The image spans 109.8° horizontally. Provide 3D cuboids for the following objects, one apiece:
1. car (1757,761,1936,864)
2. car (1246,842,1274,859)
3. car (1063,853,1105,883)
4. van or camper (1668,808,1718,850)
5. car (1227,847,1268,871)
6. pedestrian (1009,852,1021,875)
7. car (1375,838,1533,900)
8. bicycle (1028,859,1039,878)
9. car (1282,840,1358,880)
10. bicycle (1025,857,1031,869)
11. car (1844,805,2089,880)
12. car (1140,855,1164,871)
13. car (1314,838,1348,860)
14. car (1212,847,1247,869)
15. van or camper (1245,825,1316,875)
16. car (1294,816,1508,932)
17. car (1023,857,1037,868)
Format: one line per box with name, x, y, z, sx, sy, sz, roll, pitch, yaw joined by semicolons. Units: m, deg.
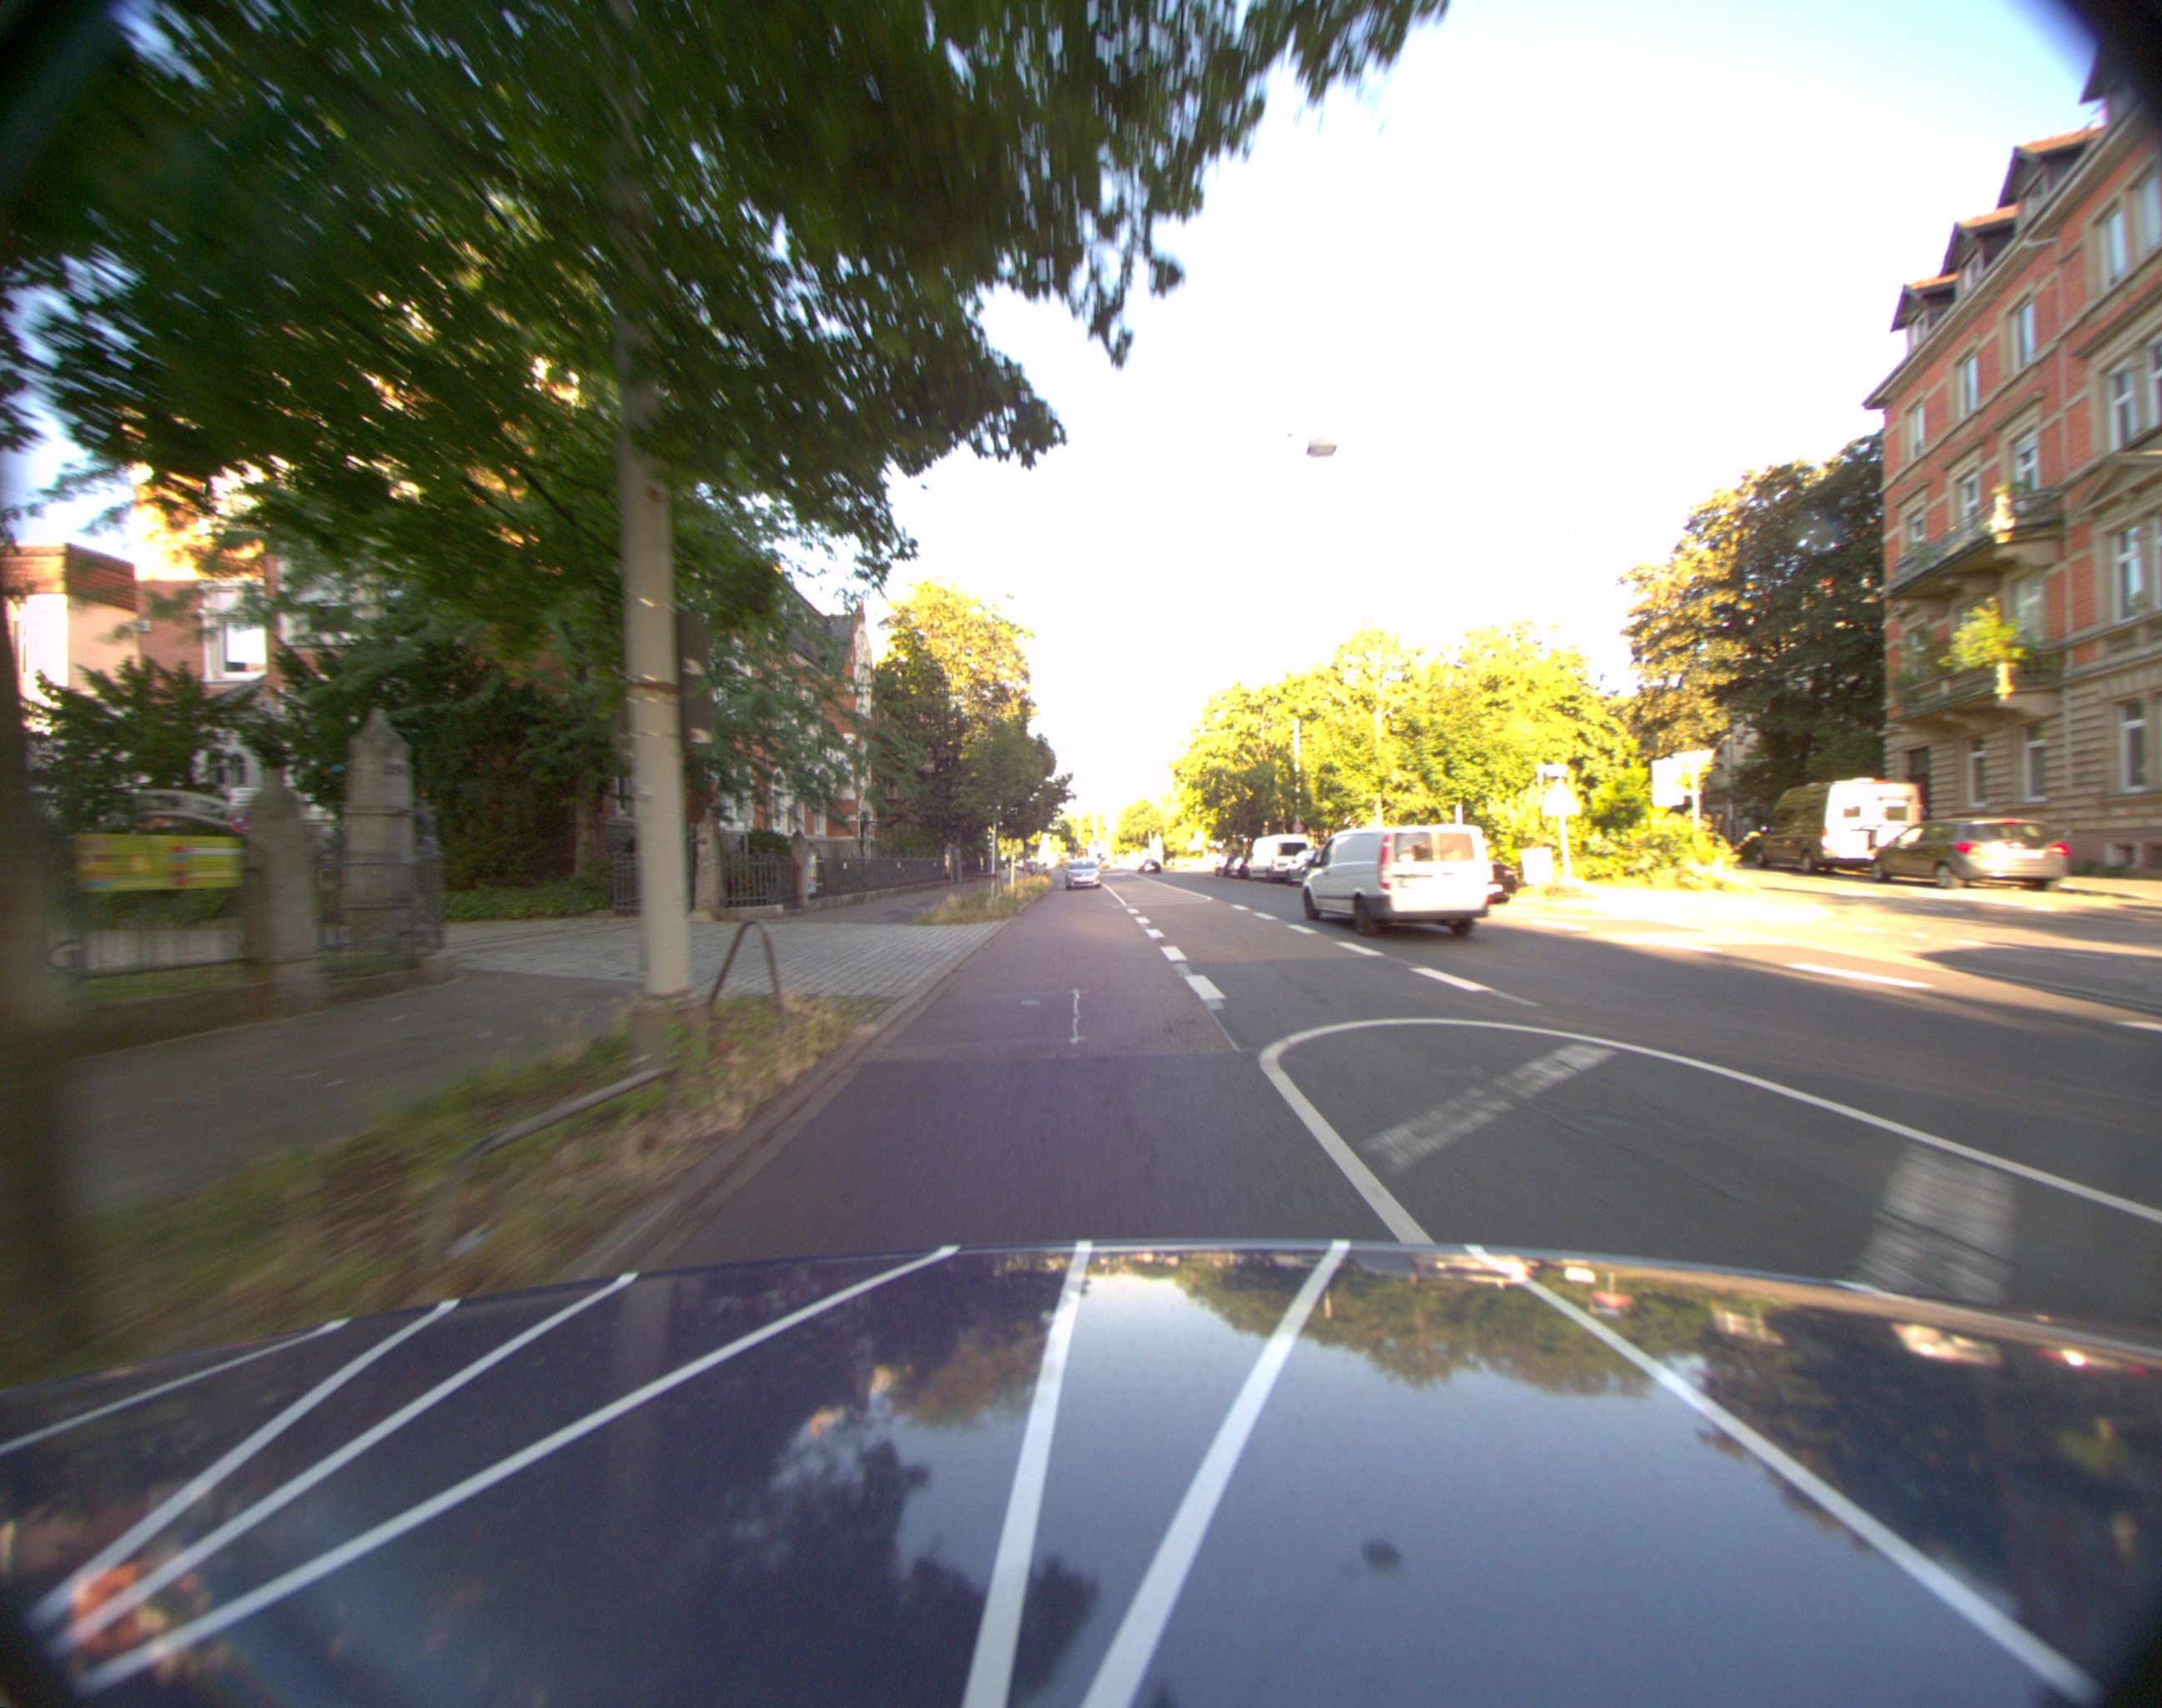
car;22.827;-1.095;22.987;2.121;2.723;5.319;0;0;25
car;19.585;-0.363;83.085;1.823;1.784;3.998;-2;0;-4
car;0.093;0.714;39.159;1.896;1.454;3.964;-1;0;-4
van or camper;36.774;-1.450;45.755;2.204;2.340;5.321;0;0;38
car;10.623;0.308;48.659;1.632;1.421;4.242;0;0;-1
pedestrian;-5.059;0.723;58.296;0.748;1.768;0.830;2;0;-13
car;10.135;0.359;21.169;1.998;1.475;4.828;-1;0;0
bicycle;-3.078;0.935;49.138;0.648;1.160;1.930;-3;0;-4
car;10.350;0.248;33.296;1.870;1.635;4.571;-1;0;0
bicycle;-6.384;1.071;91.333;0.567;1.268;2.263;2;1;-4
car;20.585;-0.251;18.006;1.995;1.528;4.570;0;0;24
car;6.432;0.772;68.824;1.770;1.394;4.544;-1;0;0
car;27.093;-0.533;82.485;2.220;2.275;5.099;-2;0;3
car;10.521;0.251;54.032;1.627;1.498;4.544;-1;0;0
van or camper;10.510;-0.201;40.605;2.096;2.454;6.305;0;0;-1
car;5.770;0.309;14.547;1.998;1.821;5.169;0;0;1
car;-6.767;1.143;101.269;1.731;1.456;3.545;2;0;-3
